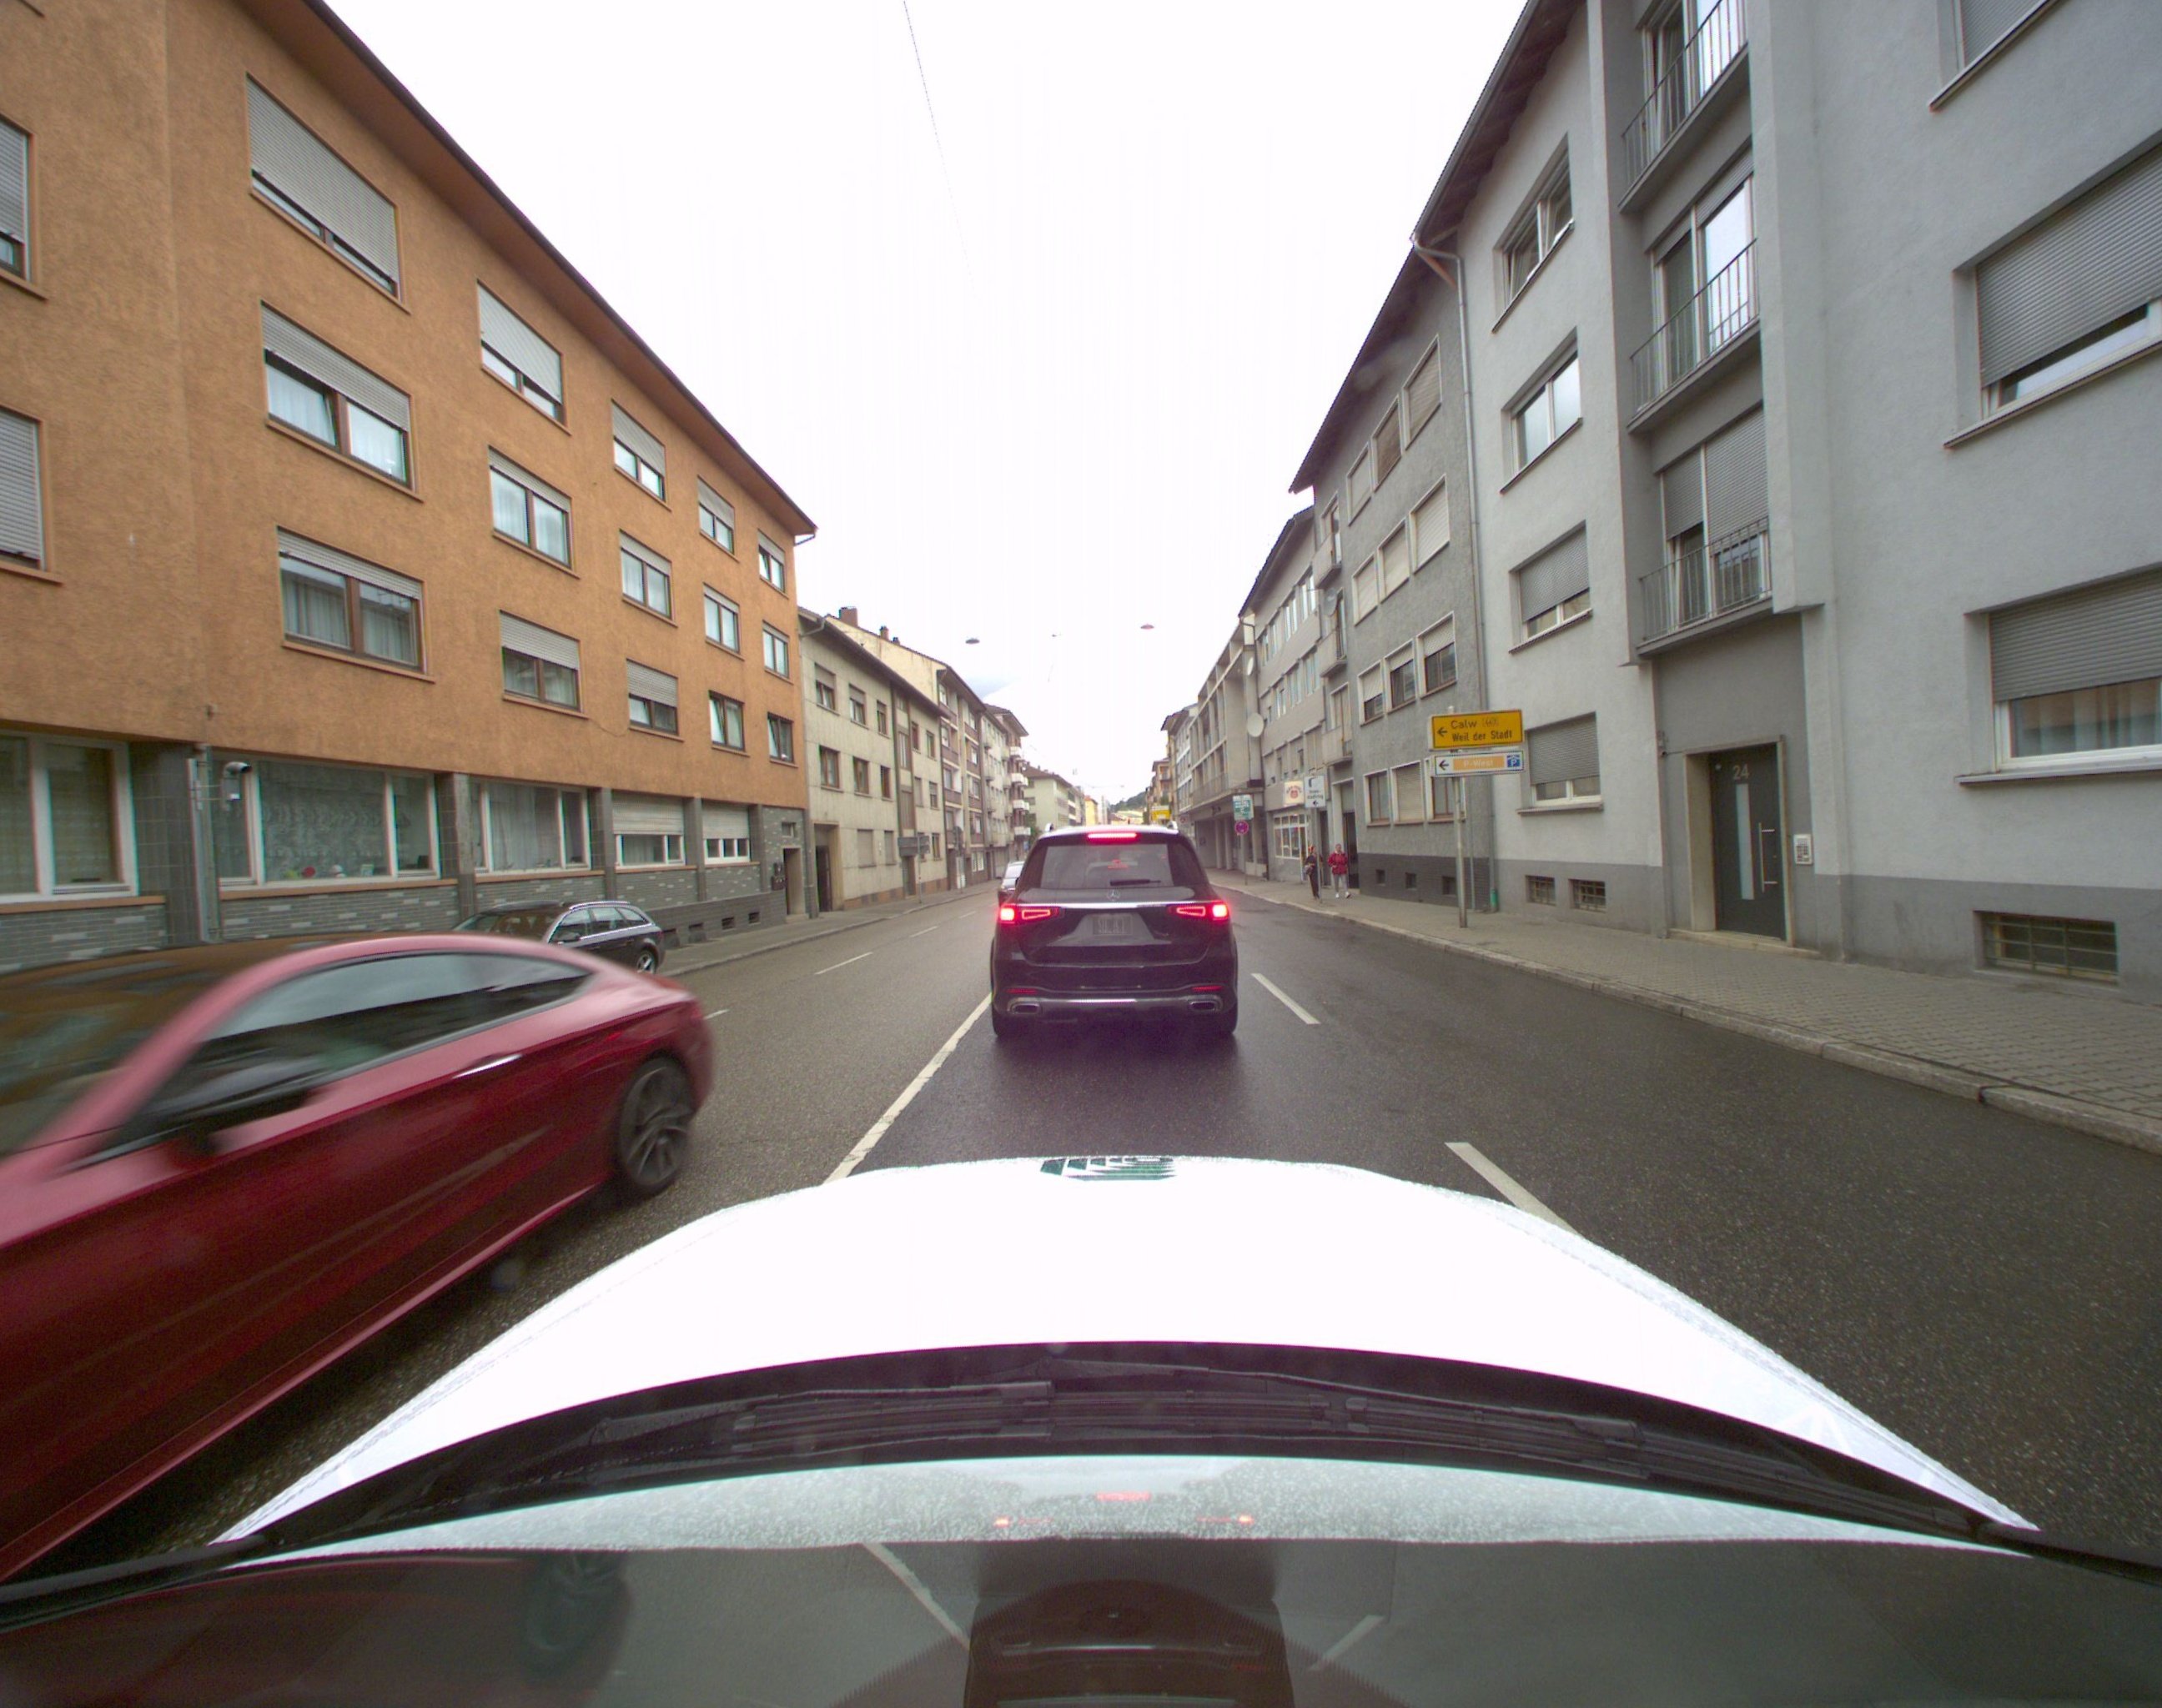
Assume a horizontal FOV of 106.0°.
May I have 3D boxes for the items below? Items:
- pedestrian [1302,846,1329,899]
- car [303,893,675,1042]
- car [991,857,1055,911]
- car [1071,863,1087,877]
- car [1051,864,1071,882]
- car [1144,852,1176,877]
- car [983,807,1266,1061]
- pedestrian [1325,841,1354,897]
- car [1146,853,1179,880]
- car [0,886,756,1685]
[{"bbox_3d":[6.911,0.551,23.989,0.504,1.500,0.562,-5,0,1],"label":"pedestrian"},{"bbox_3d":[-7.740,1.374,11.356,1.789,1.438,4.528,0,0,1],"label":"car"},{"bbox_3d":[-1.961,0.988,28.632,1.727,1.575,4.012,-6,0,1],"label":"car"},{"bbox_3d":[-0.183,1.796,93.510,1.642,1.439,4.127,-4,0,2],"label":"car"},{"bbox_3d":[-1.997,1.920,81.995,1.642,1.576,4.127,-4,0,2],"label":"car"},{"bbox_3d":[5.770,0.743,59.991,1.933,1.775,4.747,-1,0,1],"label":"car"},{"bbox_3d":[0.355,0.578,7.835,2.018,1.806,4.001,0,0,1],"label":"car"},{"bbox_3d":[7.610,0.435,23.983,0.558,1.578,0.526,-5,0,1],"label":"pedestrian"},{"bbox_3d":[5.090,0.772,51.050,1.760,1.580,4.002,-2,0,2],"label":"car"},{"bbox_3d":[-2.911,0.944,2.688,1.718,1.390,4.341,-4,0,2],"label":"car"}]
